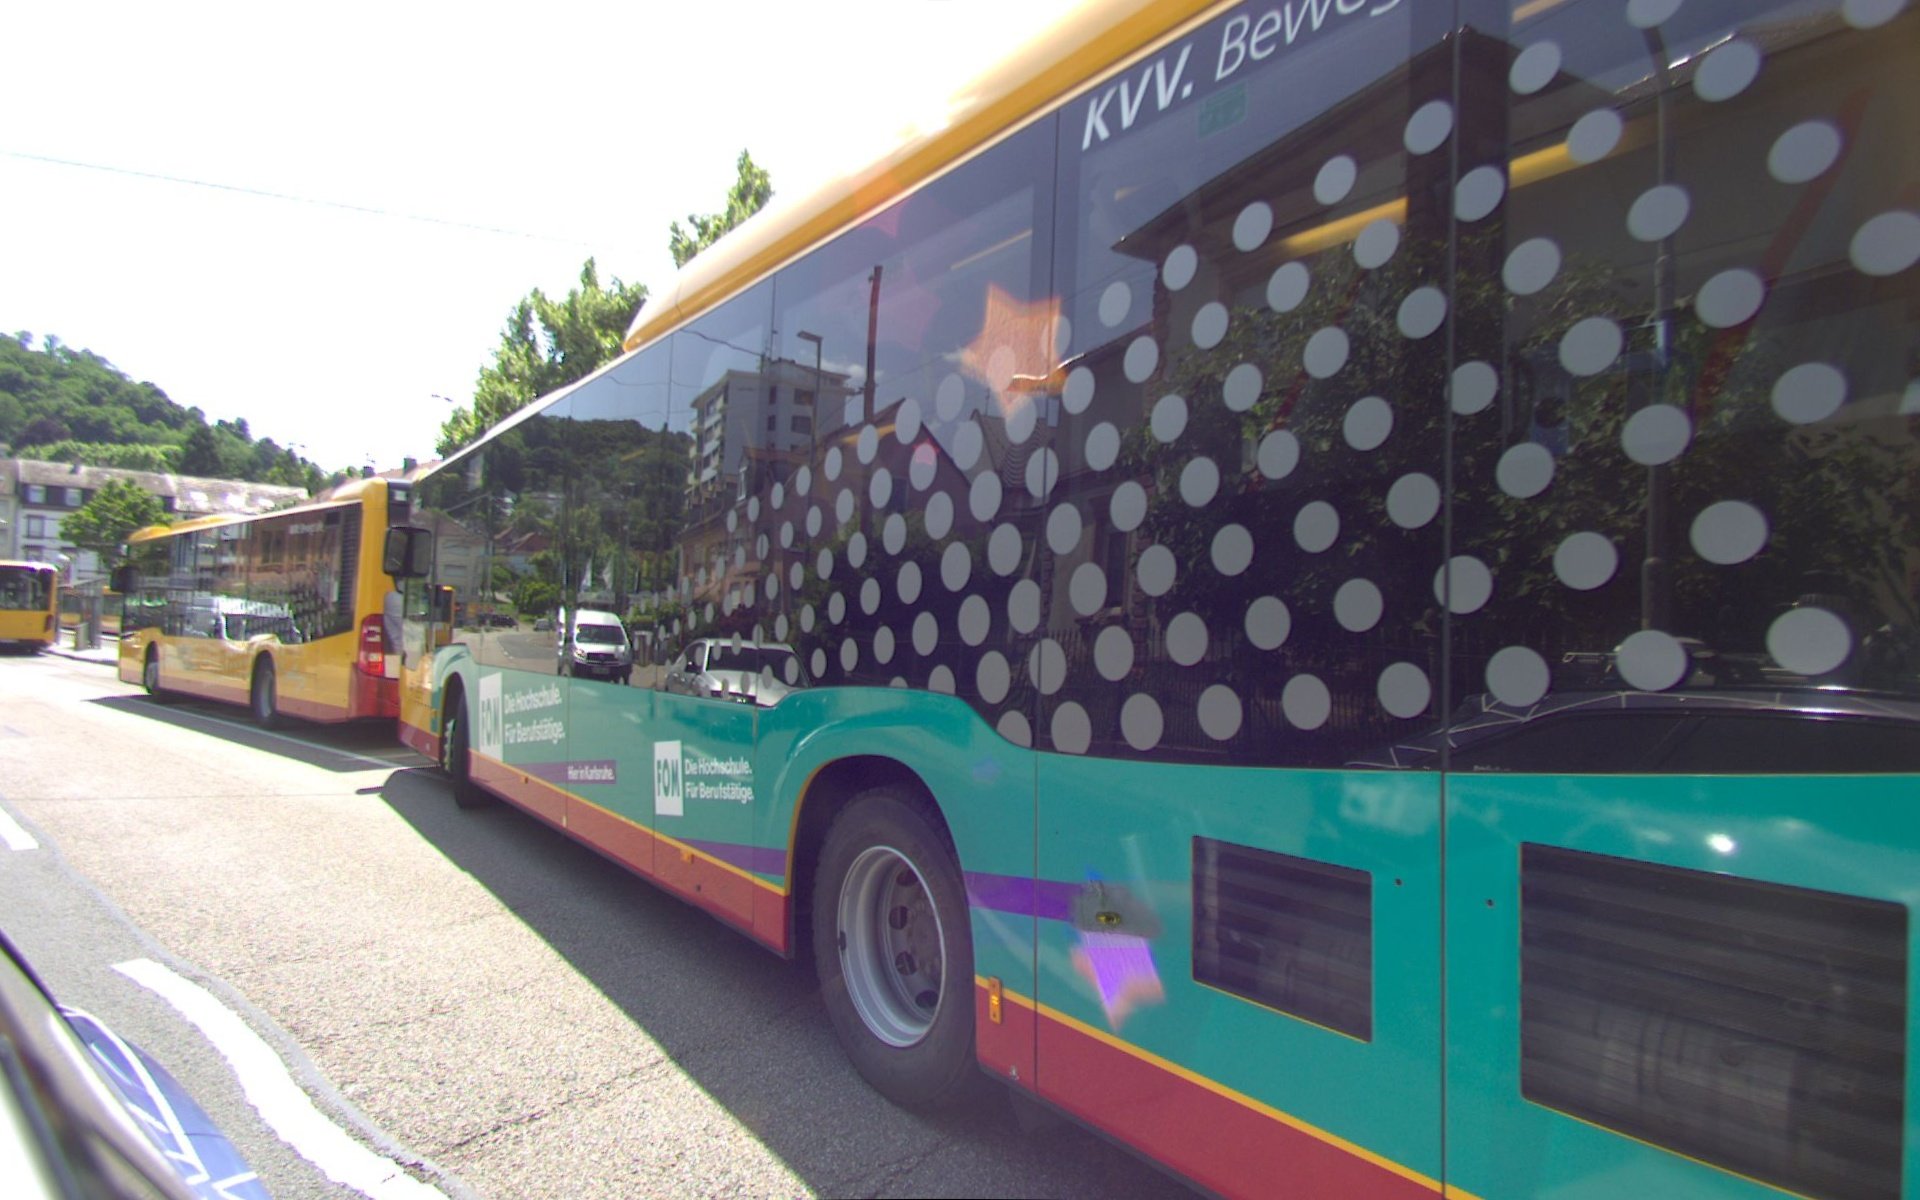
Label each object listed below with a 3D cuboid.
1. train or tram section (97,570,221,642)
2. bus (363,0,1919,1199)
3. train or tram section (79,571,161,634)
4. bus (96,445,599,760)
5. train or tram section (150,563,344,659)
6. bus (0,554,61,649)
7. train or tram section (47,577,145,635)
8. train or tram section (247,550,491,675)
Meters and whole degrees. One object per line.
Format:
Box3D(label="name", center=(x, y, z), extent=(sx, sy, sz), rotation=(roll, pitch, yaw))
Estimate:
Box3D(label="train or tram section", center=(-43.882, 0.244, 55.191), extent=(12.649, 3.521, 2.933), rotation=(1, 0, 41))
Box3D(label="bus", center=(-1.058, -0.211, 6.055), extent=(2.743, 3.233, 12.331), rotation=(1, -1, -38))
Box3D(label="train or tram section", center=(-50.297, 0.160, 60.586), extent=(4.414, 3.522, 2.933), rotation=(1, -3, 40))
Box3D(label="bus", center=(-10.099, -0.020, 15.547), extent=(12.109, 3.272, 2.878), rotation=(1, 0, 40))
Box3D(label="train or tram section", center=(-32.469, 0.351, 45.490), extent=(17.341, 3.670, 2.933), rotation=(1, 0, 41))
Box3D(label="bus", center=(-37.487, -0.105, 38.856), extent=(12.191, 3.271, 2.868), rotation=(2, 1, 41))
Box3D(label="train or tram section", center=(-56.586, 0.321, 66.125), extent=(12.705, 3.521, 2.933), rotation=(1, 0, 41))
Box3D(label="train or tram section", center=(-21.081, 0.315, 35.396), extent=(13.985, 3.670, 2.933), rotation=(1, 0, 41))
